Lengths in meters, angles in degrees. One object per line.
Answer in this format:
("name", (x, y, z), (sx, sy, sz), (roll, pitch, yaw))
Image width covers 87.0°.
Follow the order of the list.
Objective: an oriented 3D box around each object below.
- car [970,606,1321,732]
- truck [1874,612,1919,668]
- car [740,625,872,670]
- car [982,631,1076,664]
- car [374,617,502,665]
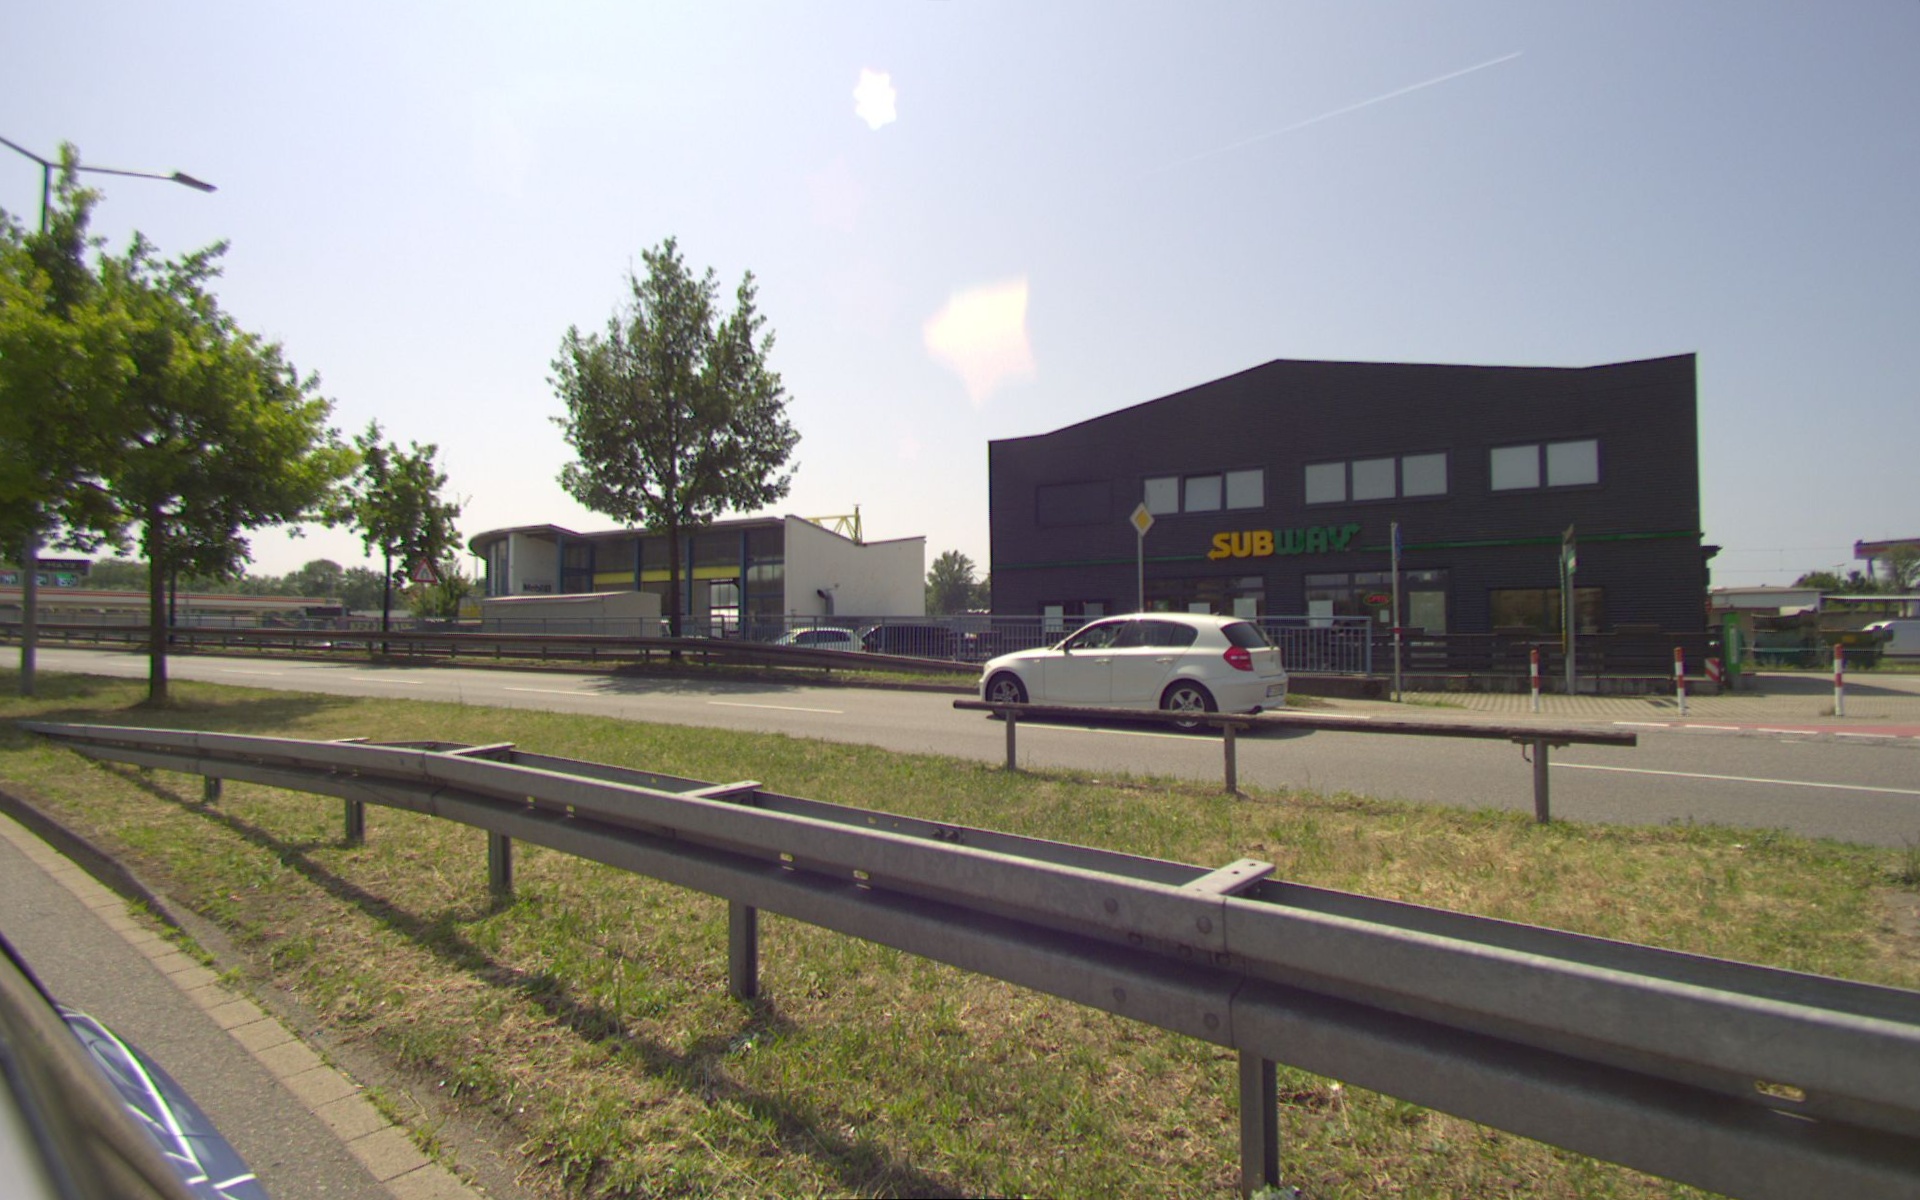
("car", (2.288, 0.791, 13.141), (4.213, 1.390, 1.638), (-1, -1, 39))
("truck", (53.519, 2.239, 54.960), (5.406, 2.981, 1.992), (1, -3, 13))
("car", (-5.044, 1.527, 33.247), (3.931, 1.390, 1.665), (0, -1, -28))
("car", (3.132, 2.147, 46.116), (3.930, 1.390, 1.665), (0, -1, -21))
("car", (-18.763, 1.452, 36.345), (4.622, 1.581, 1.884), (0, -3, 31))
